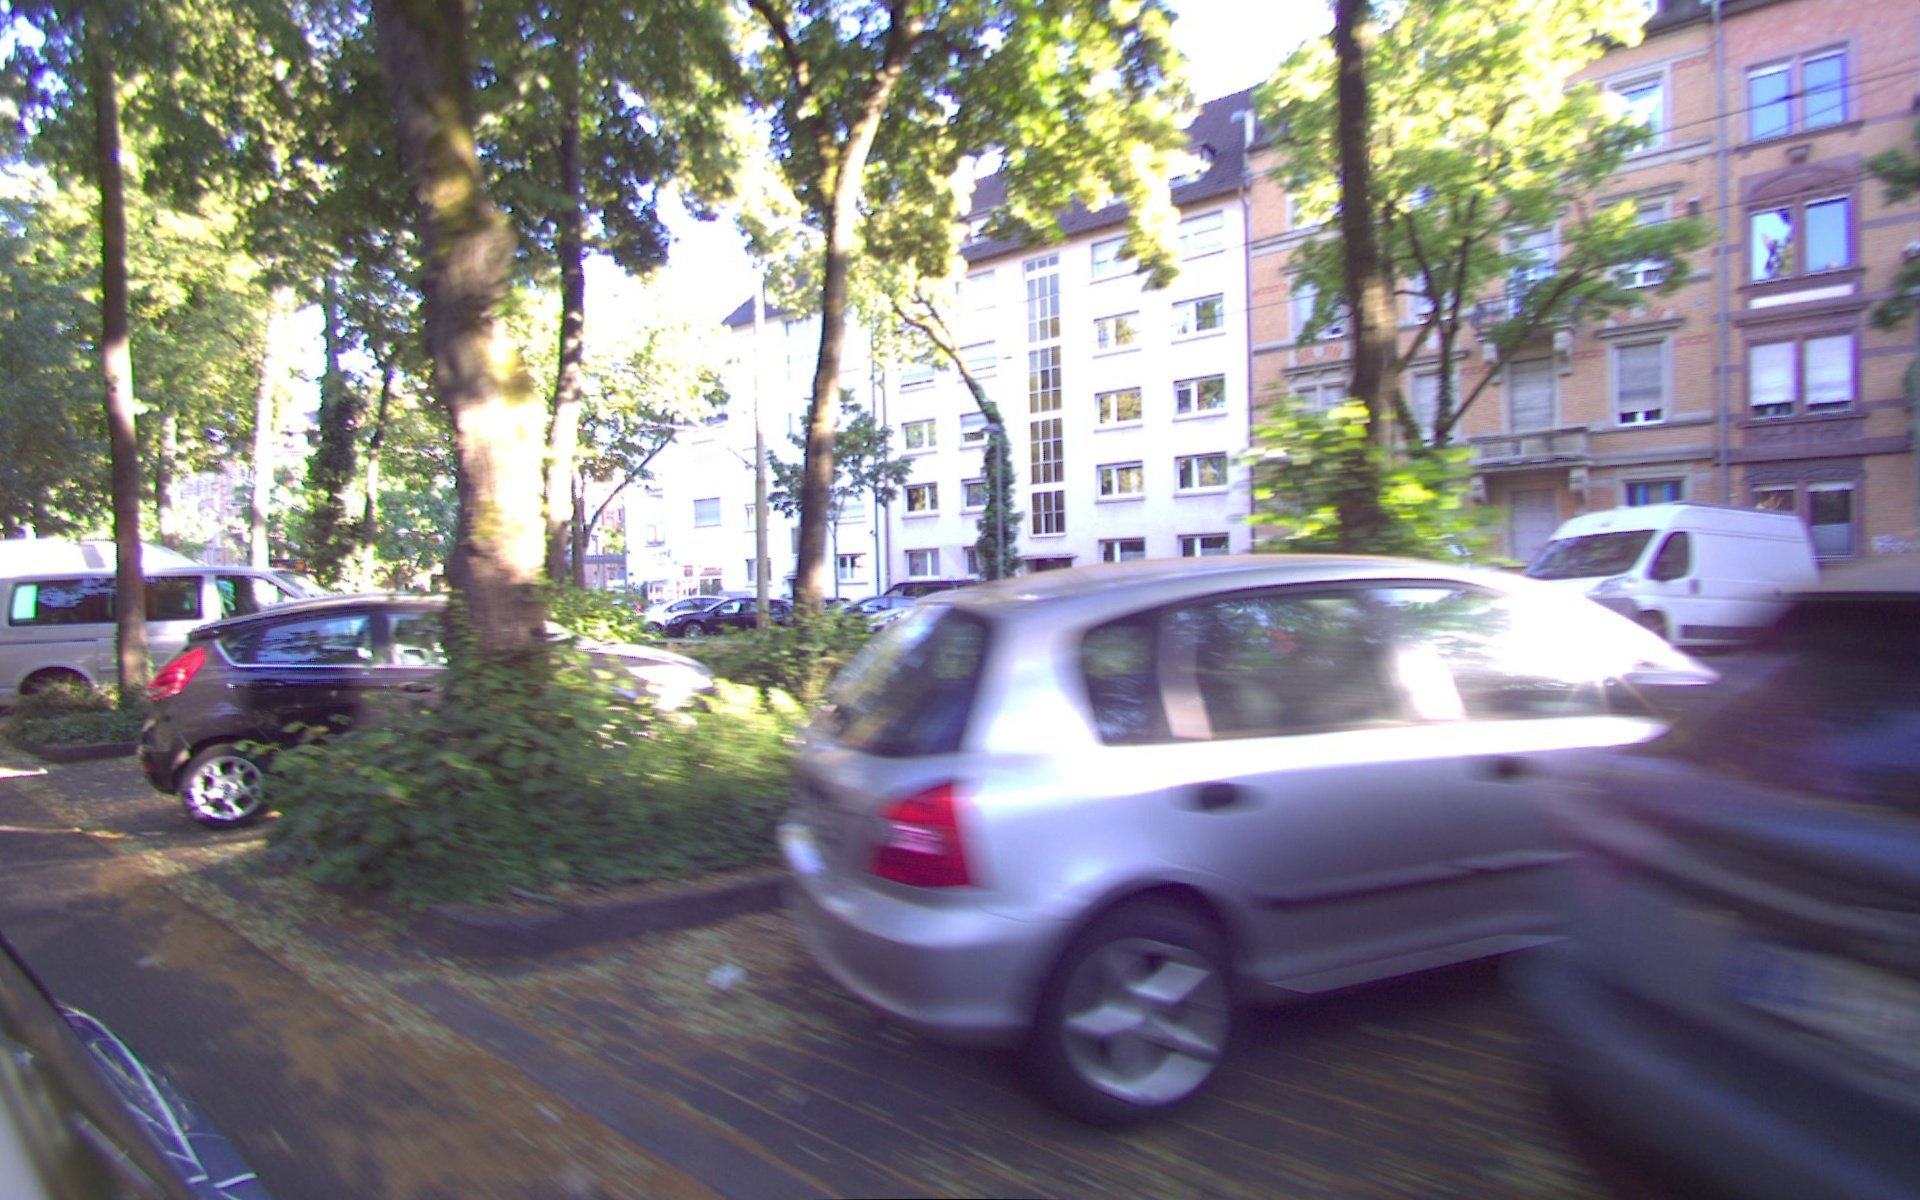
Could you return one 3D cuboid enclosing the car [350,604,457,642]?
[{"bbox_3d":[-23.841,0.951,43.472,3.815,1.455,1.860,-2,1,-23],"label":"car"}]

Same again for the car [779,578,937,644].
[{"bbox_3d":[-2.784,0.274,27.412,3.931,1.660,1.743,-1,0,-18],"label":"car"}]

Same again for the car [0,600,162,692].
[{"bbox_3d":[-17.961,0.908,19.568,3.490,1.504,1.832,-4,3,-20],"label":"car"}]

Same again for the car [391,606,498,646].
[{"bbox_3d":[-21.422,1.046,42.254,3.815,1.455,1.860,-2,1,-23],"label":"car"}]

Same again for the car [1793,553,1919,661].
[{"bbox_3d":[13.981,0.066,13.948,4.250,1.373,1.735,-1,0,-16],"label":"car"}]

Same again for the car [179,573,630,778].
[{"bbox_3d":[-5.167,0.597,9.943,3.490,1.504,1.832,-4,3,-20],"label":"car"}]

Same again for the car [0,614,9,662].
[{"bbox_3d":[-29.814,1.266,28.343,4.240,1.414,1.750,-5,2,-27],"label":"car"}]

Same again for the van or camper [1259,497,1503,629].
[{"bbox_3d":[10.945,-0.868,26.577,5.509,3.132,2.054,-1,1,39],"label":"van or camper"}]

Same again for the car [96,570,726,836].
[{"bbox_3d":[-3.800,0.610,7.733,3.761,1.449,1.831,-4,3,-15],"label":"car"}]

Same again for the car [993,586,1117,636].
[{"bbox_3d":[3.062,0.369,32.866,3.504,1.414,1.833,-2,2,39],"label":"car"}]

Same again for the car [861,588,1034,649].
[{"bbox_3d":[-0.328,0.428,25.292,3.931,1.392,1.809,-1,0,-21],"label":"car"}]

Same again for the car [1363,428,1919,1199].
[{"bbox_3d":[3.280,0.425,1.750,4.495,1.552,1.940,-4,3,-16],"label":"car"}]

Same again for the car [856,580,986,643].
[{"bbox_3d":[-1.424,0.419,36.051,4.413,2.008,1.833,-2,2,39],"label":"car"}]

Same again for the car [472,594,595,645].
[{"bbox_3d":[-16.329,0.709,38.837,4.245,1.832,1.819,-1,0,-24],"label":"car"}]

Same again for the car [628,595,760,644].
[{"bbox_3d":[-8.749,0.611,33.276,3.931,1.438,1.778,-2,0,-25],"label":"car"}]

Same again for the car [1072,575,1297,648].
[{"bbox_3d":[4.756,0.274,21.587,4.250,1.395,1.912,2,-1,-17],"label":"car"}]

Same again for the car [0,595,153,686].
[{"bbox_3d":[-20.027,0.892,21.611,3.972,1.674,1.863,-5,3,-27],"label":"car"}]

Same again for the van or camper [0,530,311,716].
[{"bbox_3d":[-13.097,0.312,15.588,4.802,2.488,2.052,-4,3,-22],"label":"van or camper"}]

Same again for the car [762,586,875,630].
[{"bbox_3d":[-5.626,0.330,39.865,4.413,1.507,1.833,-2,2,39],"label":"car"}]

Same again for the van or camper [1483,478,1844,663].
[{"bbox_3d":[10.941,-0.422,15.674,5.579,2.487,2.007,-1,0,-25],"label":"van or camper"}]

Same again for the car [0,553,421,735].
[{"bbox_3d":[-10.277,0.492,13.820,4.803,1.992,2.052,-4,3,-20],"label":"car"}]

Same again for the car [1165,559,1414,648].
[{"bbox_3d":[6.400,0.054,19.767,4.250,1.594,1.912,-1,0,-16],"label":"car"}]

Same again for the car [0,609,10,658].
[{"bbox_3d":[-31.608,1.176,30.464,3.932,1.523,1.966,-5,2,-30],"label":"car"}]

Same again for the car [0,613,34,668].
[{"bbox_3d":[-27.742,1.245,26.733,4.389,1.414,1.863,-5,2,-24],"label":"car"}]

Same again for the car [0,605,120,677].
[{"bbox_3d":[-22.247,1.012,23.191,4.171,1.451,1.863,-5,3,-24],"label":"car"}]

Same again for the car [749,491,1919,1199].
[{"bbox_3d":[1.420,0.477,3.690,4.024,1.499,1.790,-4,3,-18],"label":"car"}]
